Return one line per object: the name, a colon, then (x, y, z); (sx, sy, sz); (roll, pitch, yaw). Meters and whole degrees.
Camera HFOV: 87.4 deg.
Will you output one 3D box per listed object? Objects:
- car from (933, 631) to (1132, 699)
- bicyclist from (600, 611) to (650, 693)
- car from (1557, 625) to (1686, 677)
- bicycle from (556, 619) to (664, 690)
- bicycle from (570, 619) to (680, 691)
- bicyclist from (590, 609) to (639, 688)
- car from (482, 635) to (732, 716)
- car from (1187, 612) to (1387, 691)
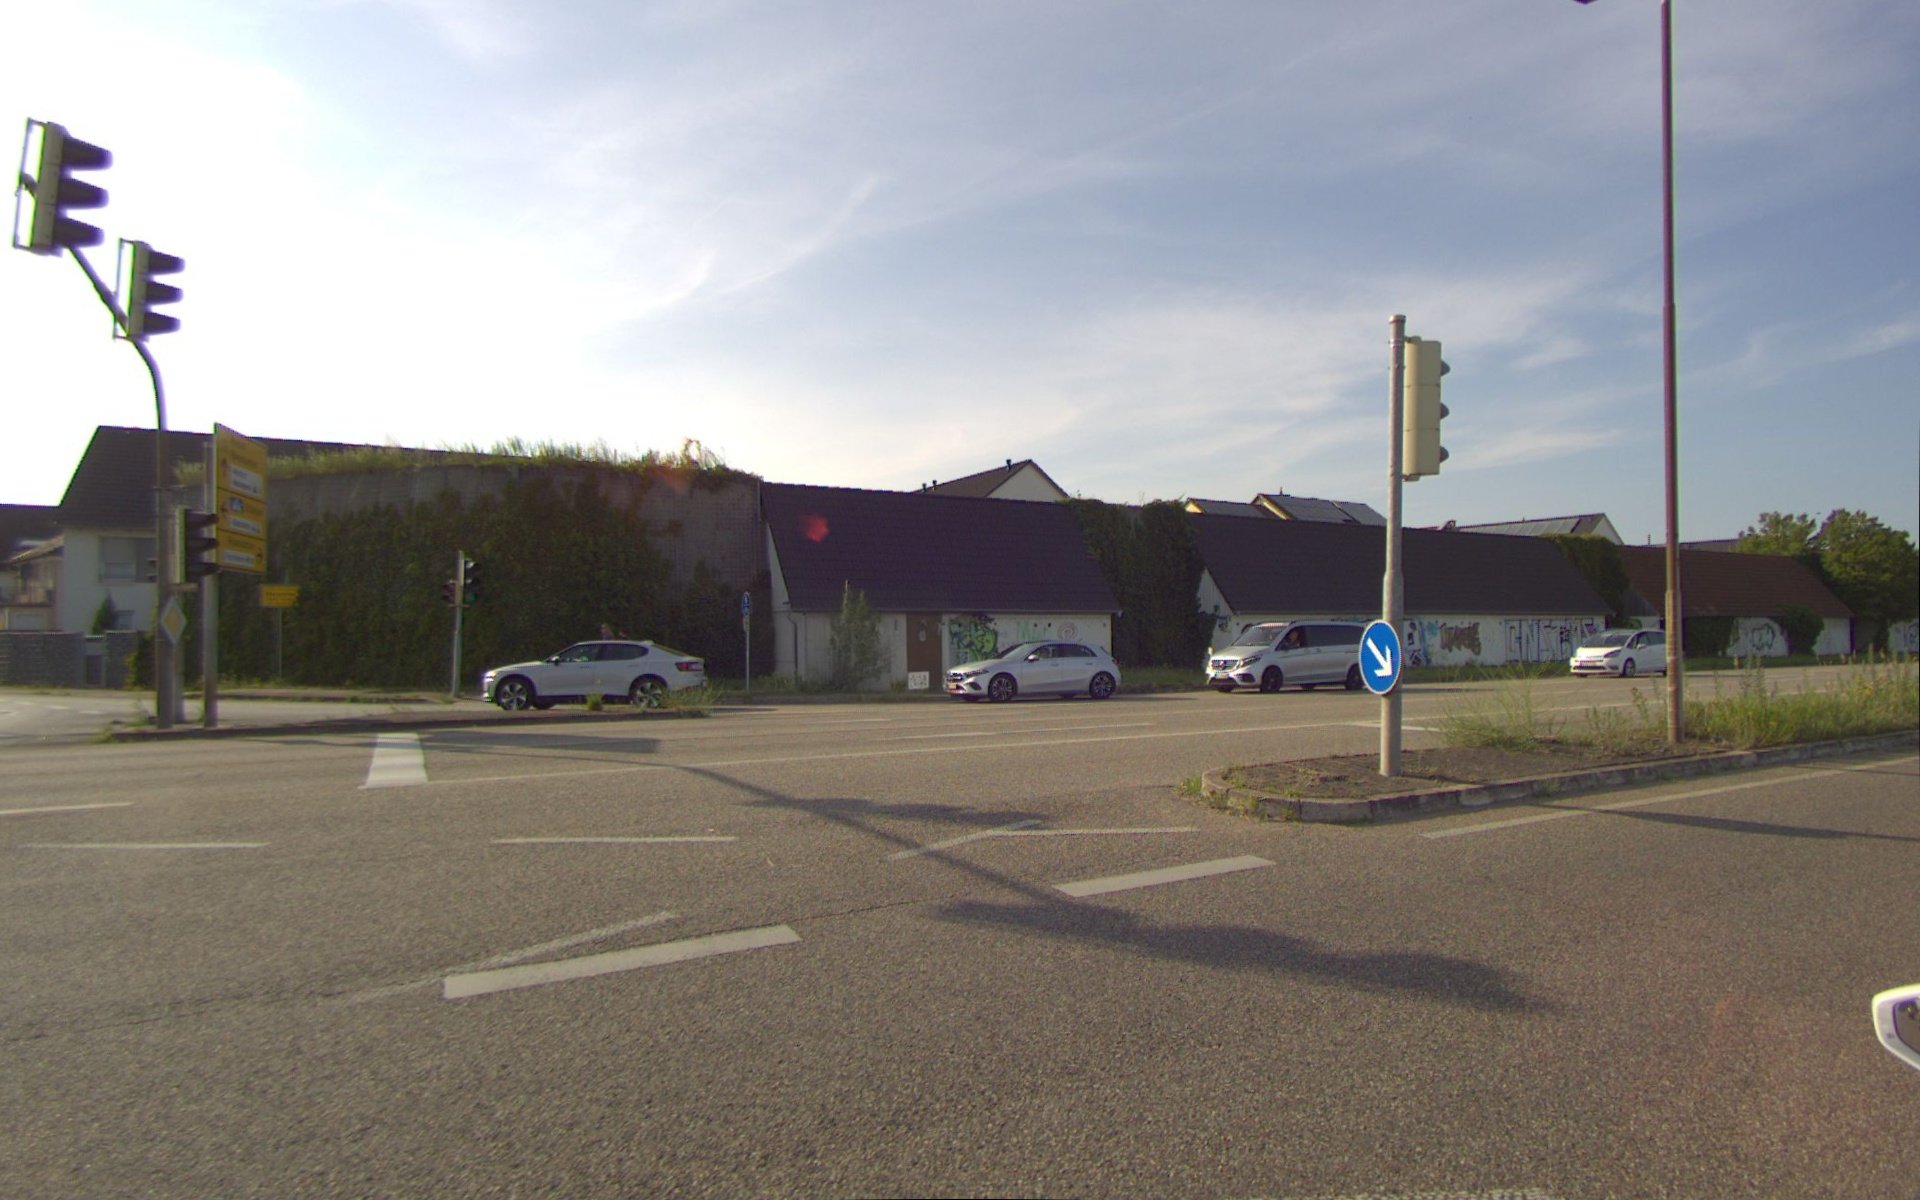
car: (1.748, 1.555, 23.954); (4.474, 1.516, 1.699); (1, -5, -24)
bicyclist: (-8.617, 1.329, 25.849); (1.050, 2.040, 0.766); (1, 0, -30)
car: (23.467, 1.818, 35.597); (4.700, 1.729, 1.829); (2, -4, -30)
bicycle: (-9.226, 1.426, 26.496); (2.576, 1.772, 0.750); (1, 0, -30)
bicycle: (-8.597, 1.394, 25.833); (2.576, 1.772, 0.750); (1, 0, -30)
bicyclist: (-9.130, 1.265, 26.532); (1.050, 2.040, 0.766); (1, 0, -30)
car: (-7.402, 1.588, 21.477); (4.672, 1.517, 1.954); (1, 0, -6)
car: (8.845, 1.397, 27.043); (5.385, 1.953, 1.900); (2, -4, -28)
